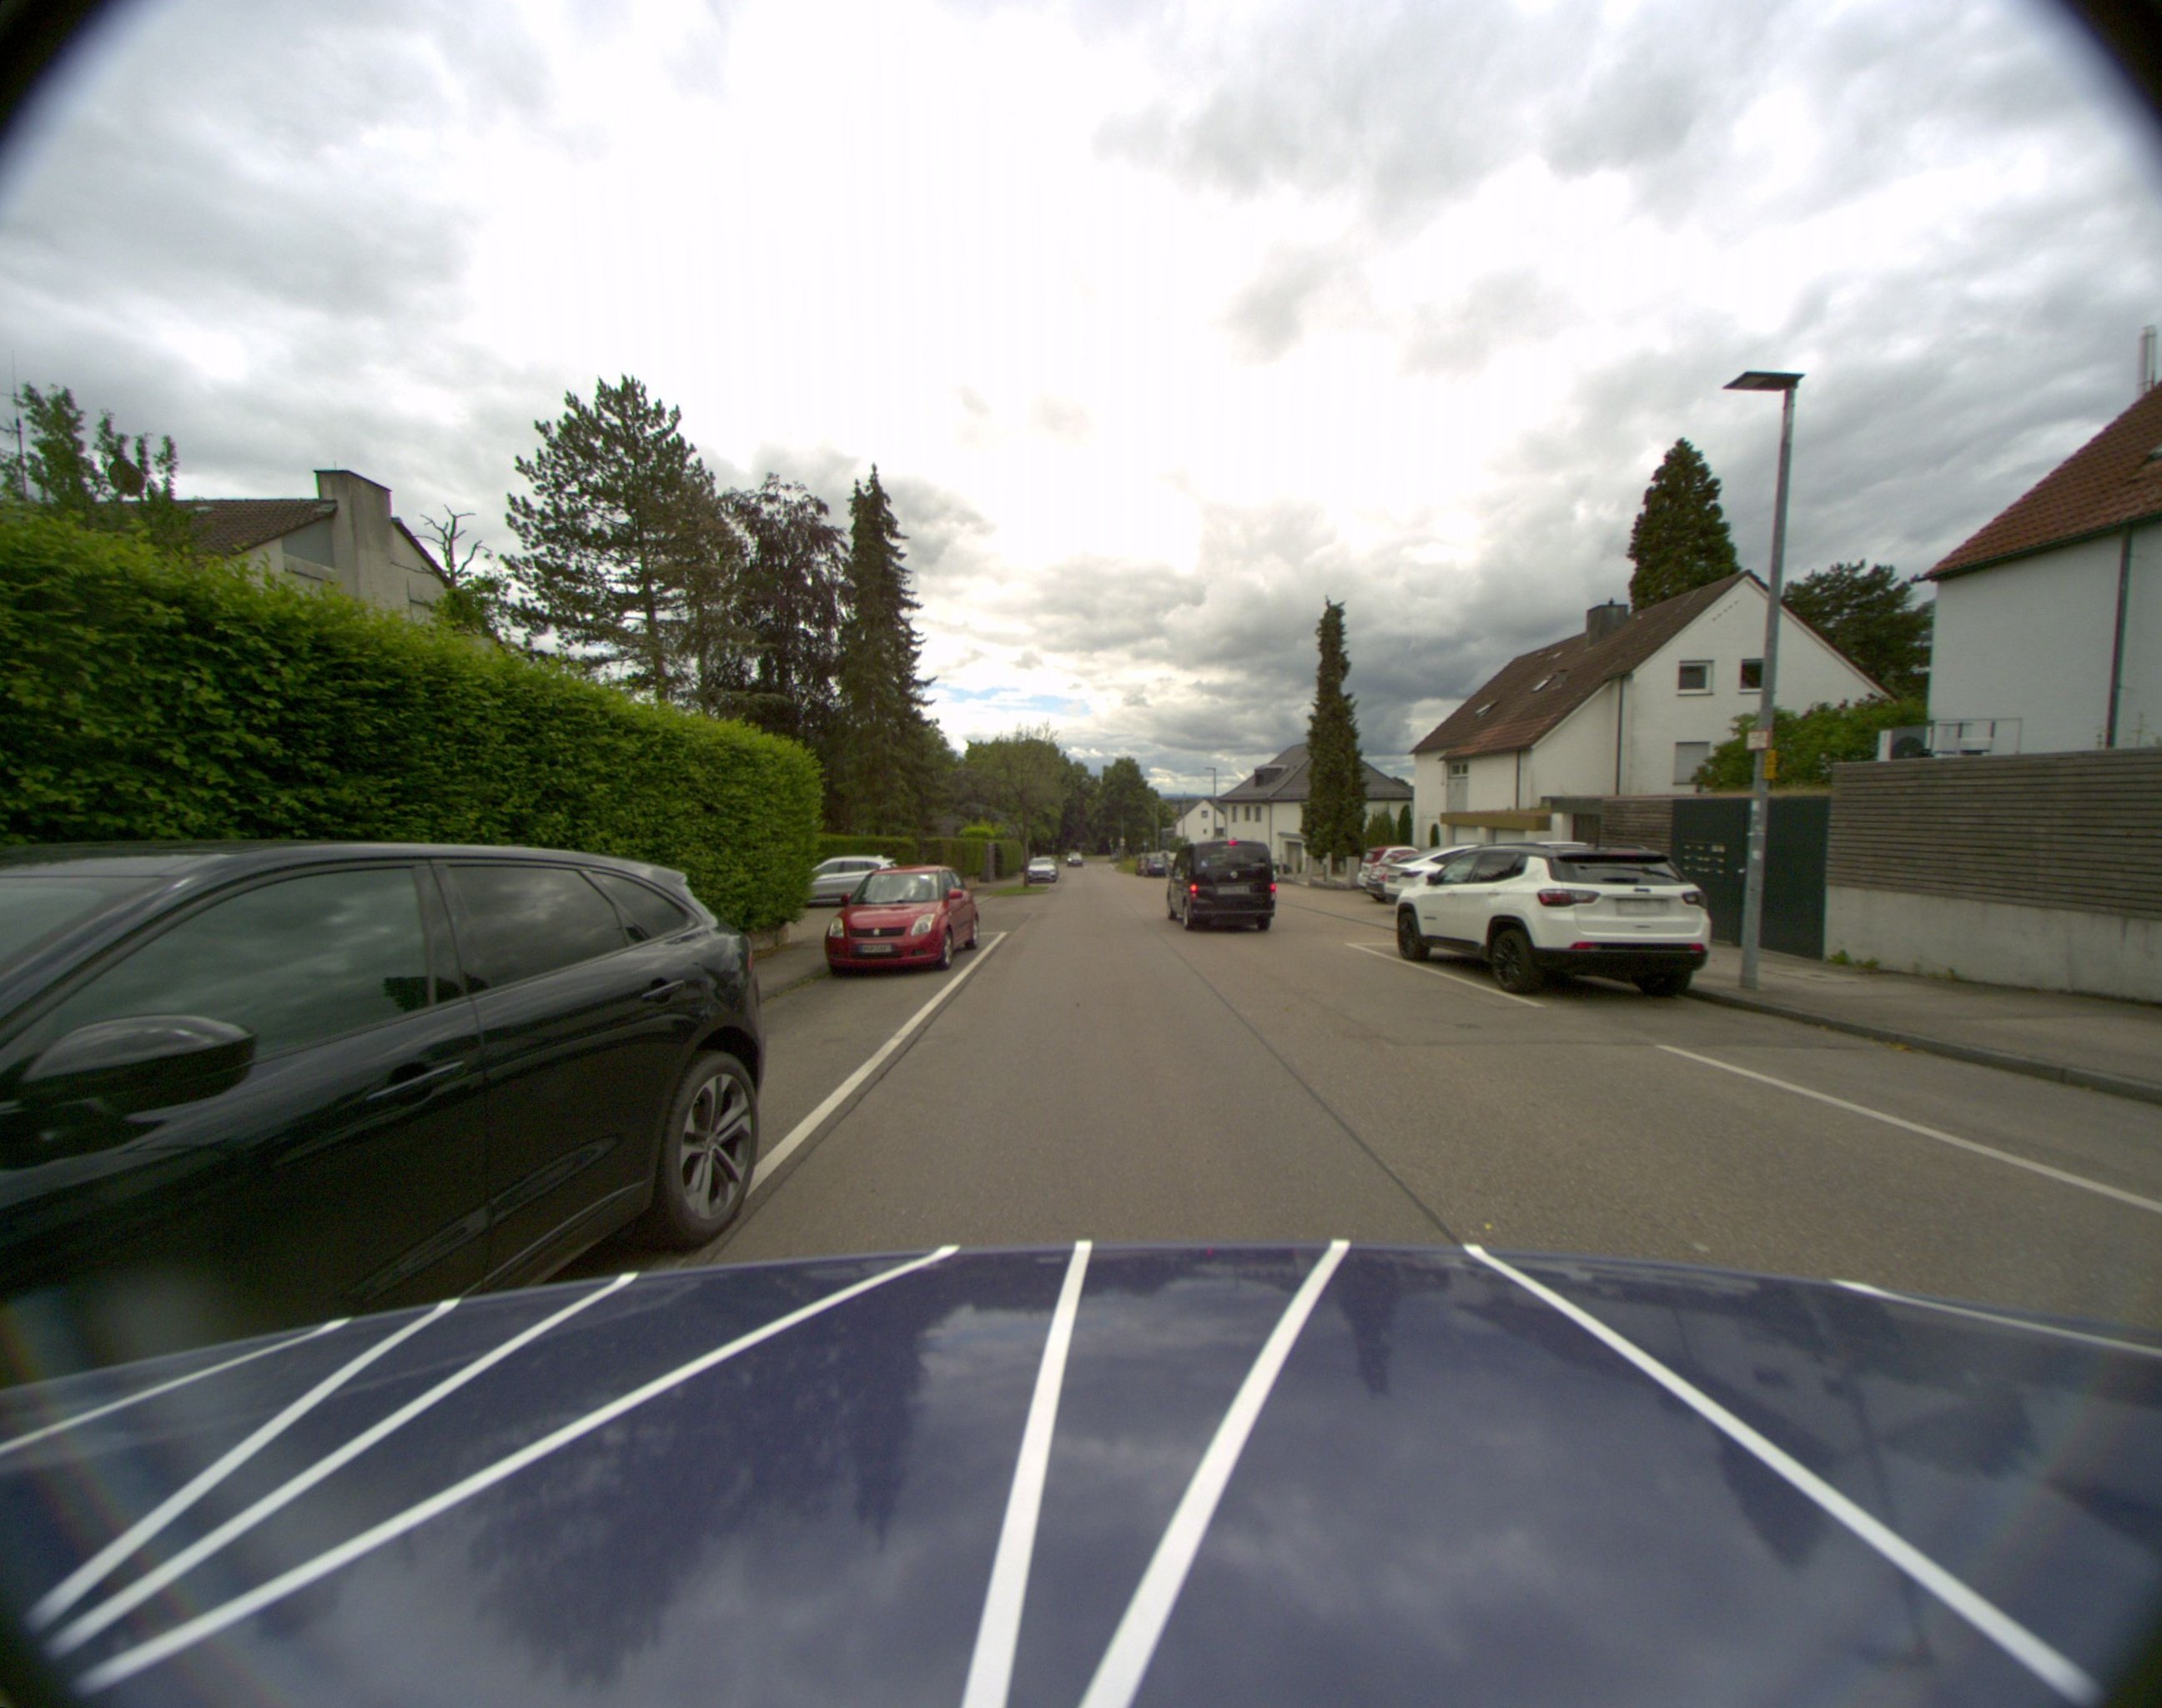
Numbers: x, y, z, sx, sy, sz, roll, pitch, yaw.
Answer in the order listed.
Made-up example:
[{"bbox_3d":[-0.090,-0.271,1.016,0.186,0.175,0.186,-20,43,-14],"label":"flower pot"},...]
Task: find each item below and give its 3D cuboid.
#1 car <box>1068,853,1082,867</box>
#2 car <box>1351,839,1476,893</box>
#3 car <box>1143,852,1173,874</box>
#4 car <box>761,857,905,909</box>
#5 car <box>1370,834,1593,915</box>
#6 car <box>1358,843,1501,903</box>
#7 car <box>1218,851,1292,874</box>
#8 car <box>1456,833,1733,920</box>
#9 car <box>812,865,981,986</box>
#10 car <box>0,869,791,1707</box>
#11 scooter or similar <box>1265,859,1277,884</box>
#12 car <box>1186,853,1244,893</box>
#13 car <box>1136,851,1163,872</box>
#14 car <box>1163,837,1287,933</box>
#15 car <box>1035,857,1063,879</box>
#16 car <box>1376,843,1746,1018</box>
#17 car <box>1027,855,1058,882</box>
[{"bbox_3d":[-0.709,0.662,85.554,1.569,1.504,3.396,-2,0,-1],"label":"car"},{"bbox_3d":[11.144,0.387,25.592,3.437,1.569,1.656,-3,2,1],"label":"car"},{"bbox_3d":[5.580,0.632,55.322,1.882,1.527,3.507,-1,1,1],"label":"car"},{"bbox_3d":[-8.066,0.908,25.070,4.221,1.590,1.880,-1,0,-9],"label":"car"},{"bbox_3d":[9.733,0.472,18.716,4.423,1.619,1.910,-4,1,-1],"label":"car"},{"bbox_3d":[10.282,0.537,22.608,3.437,1.504,1.692,-3,2,1],"label":"car"},{"bbox_3d":[11.327,0.552,49.667,4.299,1.360,1.903,-1,0,-5],"label":"car"},{"bbox_3d":[10.215,0.429,15.409,4.306,1.602,1.854,-1,1,4],"label":"car"},{"bbox_3d":[-2.665,0.965,11.862,1.665,1.499,3.758,-1,0,0],"label":"car"},{"bbox_3d":[-2.586,0.961,1.565,1.998,1.608,4.513,-3,1,2],"label":"car"},{"bbox_3d":[9.067,0.829,36.206,0.475,1.142,1.456,-3,0,16],"label":"scooter or similar"},{"bbox_3d":[5.539,0.755,31.886,1.765,1.554,3.855,0,0,0],"label":"car"},{"bbox_3d":[5.462,0.544,60.857,1.882,1.576,3.871,-1,0,1],"label":"car"},{"bbox_3d":[3.002,0.584,16.767,1.890,1.840,4.401,0,0,0],"label":"car"},{"bbox_3d":[-2.275,0.993,54.999,1.860,1.455,4.171,-2,1,-2],"label":"car"},{"bbox_3d":[5.410,0.721,9.423,1.842,1.656,4.408,0,0,1],"label":"car"},{"bbox_3d":[-2.418,0.907,48.872,1.860,1.573,4.171,-2,1,-2],"label":"car"}]
